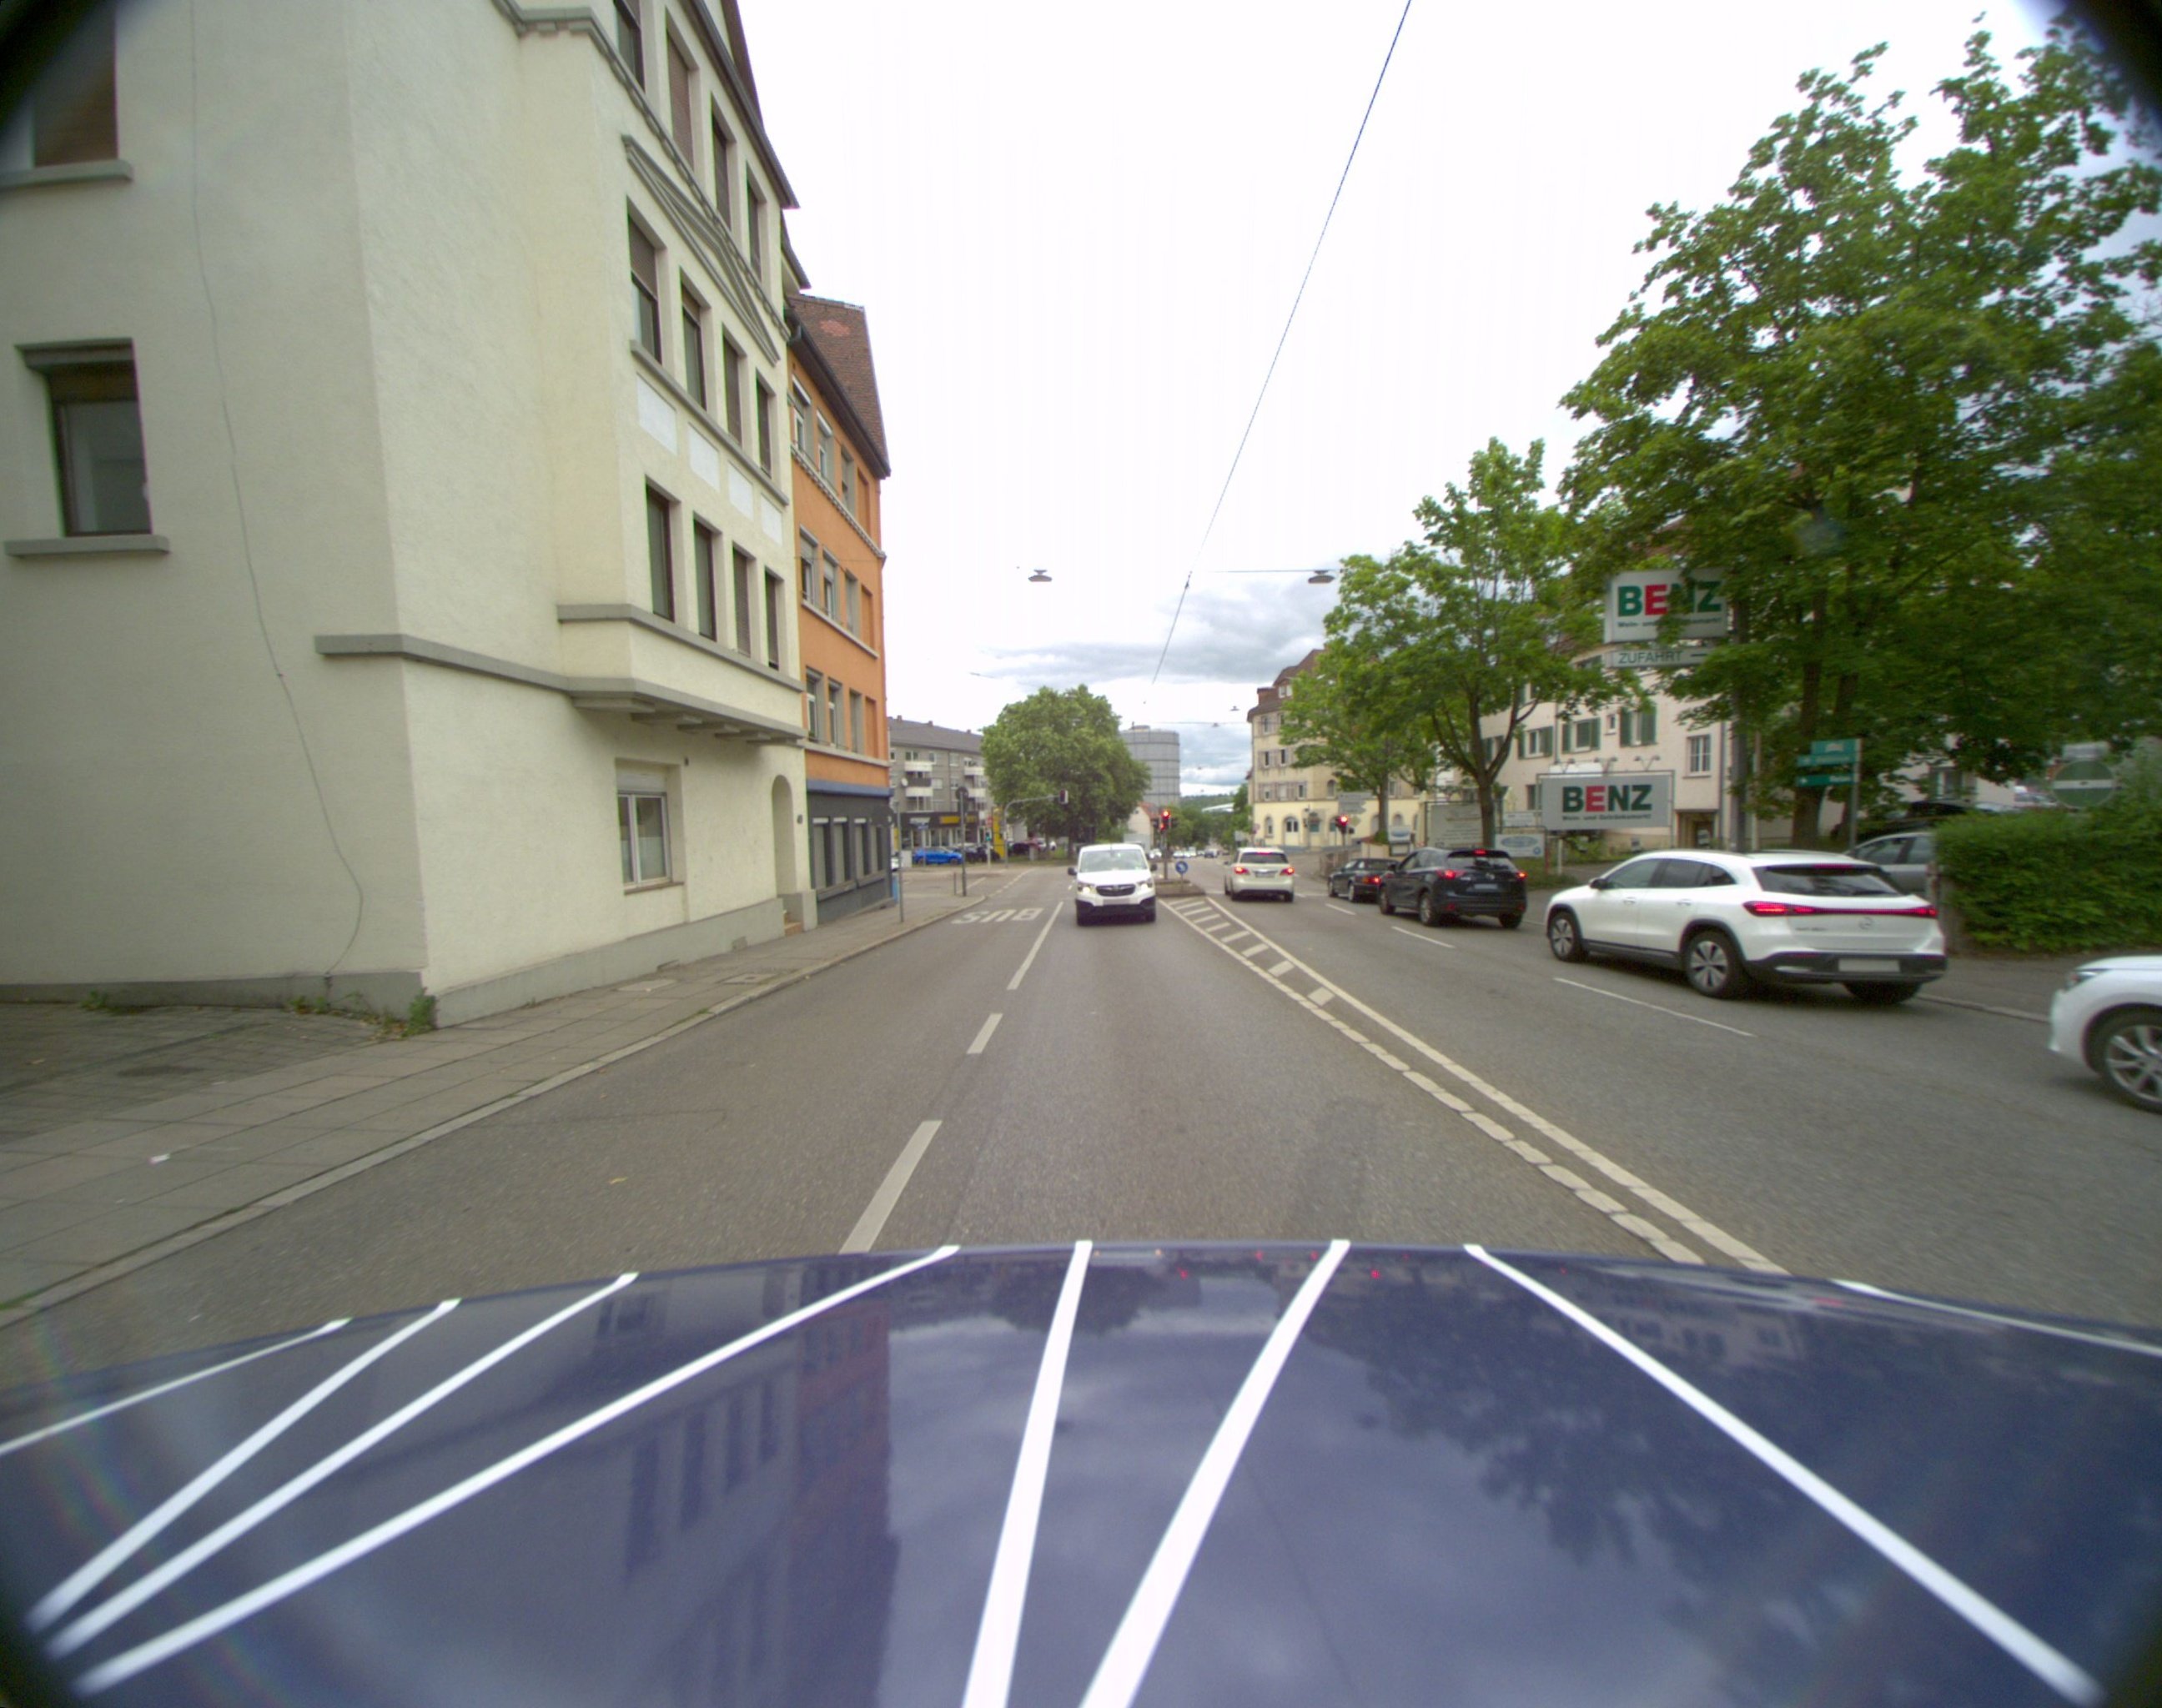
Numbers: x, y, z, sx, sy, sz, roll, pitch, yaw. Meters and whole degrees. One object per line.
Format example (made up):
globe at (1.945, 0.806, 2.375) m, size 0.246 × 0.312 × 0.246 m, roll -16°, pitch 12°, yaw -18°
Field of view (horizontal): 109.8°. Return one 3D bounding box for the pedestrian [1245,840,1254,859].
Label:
pedestrian at (18.175, -0.490, 81.872) m, size 0.746 × 1.925 × 0.904 m, roll -4°, pitch 1°, yaw 11°

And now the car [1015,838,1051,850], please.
car at (-6.027, -1.248, 95.343) m, size 4.006 × 1.496 × 1.858 m, roll -2°, pitch 2°, yaw -33°

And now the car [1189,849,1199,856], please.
car at (27.459, -0.374, 184.552) m, size 1.997 × 1.590 × 4.003 m, roll -3°, pitch 0°, yaw 13°

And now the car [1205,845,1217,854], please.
car at (23.464, -0.814, 137.095) m, size 1.757 × 1.439 × 3.754 m, roll -2°, pitch 1°, yaw 14°

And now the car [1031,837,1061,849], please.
car at (-4.723, -1.442, 101.825) m, size 3.624 × 1.496 × 1.787 m, roll -2°, pitch 2°, yaw -41°

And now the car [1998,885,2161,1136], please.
car at (7.091, 0.950, 3.086) m, size 1.843 × 1.404 × 4.074 m, roll 1°, pitch 1°, yaw 2°

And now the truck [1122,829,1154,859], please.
truck at (7.231, -1.345, 95.342) m, size 2.769 × 3.482 × 8.176 m, roll -3°, pitch 1°, yaw 12°

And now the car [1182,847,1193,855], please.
car at (23.372, -0.734, 166.784) m, size 1.997 × 1.590 × 4.003 m, roll -3°, pitch 0°, yaw 13°

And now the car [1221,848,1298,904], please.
car at (5.415, 0.589, 23.525) m, size 1.779 × 1.538 × 4.326 m, roll 1°, pitch 1°, yaw 6°

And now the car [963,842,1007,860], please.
car at (-9.387, -0.310, 74.531) m, size 1.823 × 1.599 × 4.178 m, roll 7°, pitch 4°, yaw 33°

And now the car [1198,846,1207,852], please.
car at (33.234, -1.385, 208.163) m, size 1.997 × 1.590 × 4.003 m, roll -3°, pitch 0°, yaw 13°

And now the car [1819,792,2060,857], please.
car at (27.276, -0.874, 24.477) m, size 2.065 × 1.793 × 4.907 m, roll -3°, pitch 1°, yaw -4°

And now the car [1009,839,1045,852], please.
car at (-6.548, -1.084, 92.383) m, size 4.007 × 1.496 × 1.858 m, roll -2°, pitch 2°, yaw -36°

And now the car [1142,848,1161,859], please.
car at (9.735, -0.033, 104.224) m, size 1.916 × 1.291 × 4.412 m, roll -3°, pitch 1°, yaw 13°

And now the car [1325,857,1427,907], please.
car at (8.797, 0.790, 23.016) m, size 1.805 × 1.274 × 4.238 m, roll 1°, pitch 1°, yaw 6°

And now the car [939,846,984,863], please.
car at (-10.795, 0.060, 68.899) m, size 1.824 × 1.468 × 4.008 m, roll 1°, pitch 1°, yaw 34°

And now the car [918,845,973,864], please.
car at (-11.494, 0.057, 64.566) m, size 4.255 × 1.568 × 1.829 m, roll 0°, pitch 1°, yaw 2°

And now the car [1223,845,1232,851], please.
car at (39.352, -1.690, 204.058) m, size 1.997 × 1.590 × 4.003 m, roll -3°, pitch 0°, yaw 13°

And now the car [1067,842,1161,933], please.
car at (0.801, 0.675, 18.469) m, size 1.887 × 1.828 × 4.676 m, roll -3°, pitch 1°, yaw 2°

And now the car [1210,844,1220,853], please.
car at (28.720, -1.261, 162.796) m, size 1.868 × 1.873 × 4.288 m, roll 1°, pitch 1°, yaw 10°

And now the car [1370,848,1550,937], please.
car at (8.016, 0.703, 16.617) m, size 1.955 × 1.633 × 4.414 m, roll 1°, pitch 1°, yaw 4°

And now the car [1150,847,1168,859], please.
car at (11.458, -0.196, 111.985) m, size 1.996 × 1.620 × 4.412 m, roll -3°, pitch 1°, yaw 13°

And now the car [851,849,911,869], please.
car at (-15.654, 0.376, 59.492) m, size 4.131 × 1.526 × 1.921 m, roll 1°, pitch 2°, yaw 21°

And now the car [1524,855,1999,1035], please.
car at (7.668, 0.853, 9.370) m, size 1.956 × 1.584 × 4.498 m, roll 1°, pitch 1°, yaw 3°

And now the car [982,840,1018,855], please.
car at (-9.031, -0.750, 84.445) m, size 3.616 × 1.544 × 1.617 m, roll -2°, pitch 2°, yaw -27°

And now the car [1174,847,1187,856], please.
car at (19.558, -0.490, 148.911) m, size 1.997 × 1.590 × 4.003 m, roll -3°, pitch 0°, yaw 13°

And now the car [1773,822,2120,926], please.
car at (15.298, 0.285, 13.830) m, size 1.711 × 1.492 × 3.999 m, roll -4°, pitch 1°, yaw 0°

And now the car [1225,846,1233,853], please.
car at (41.864, -1.274, 214.599) m, size 1.997 × 1.590 × 4.003 m, roll -3°, pitch 0°, yaw 13°
